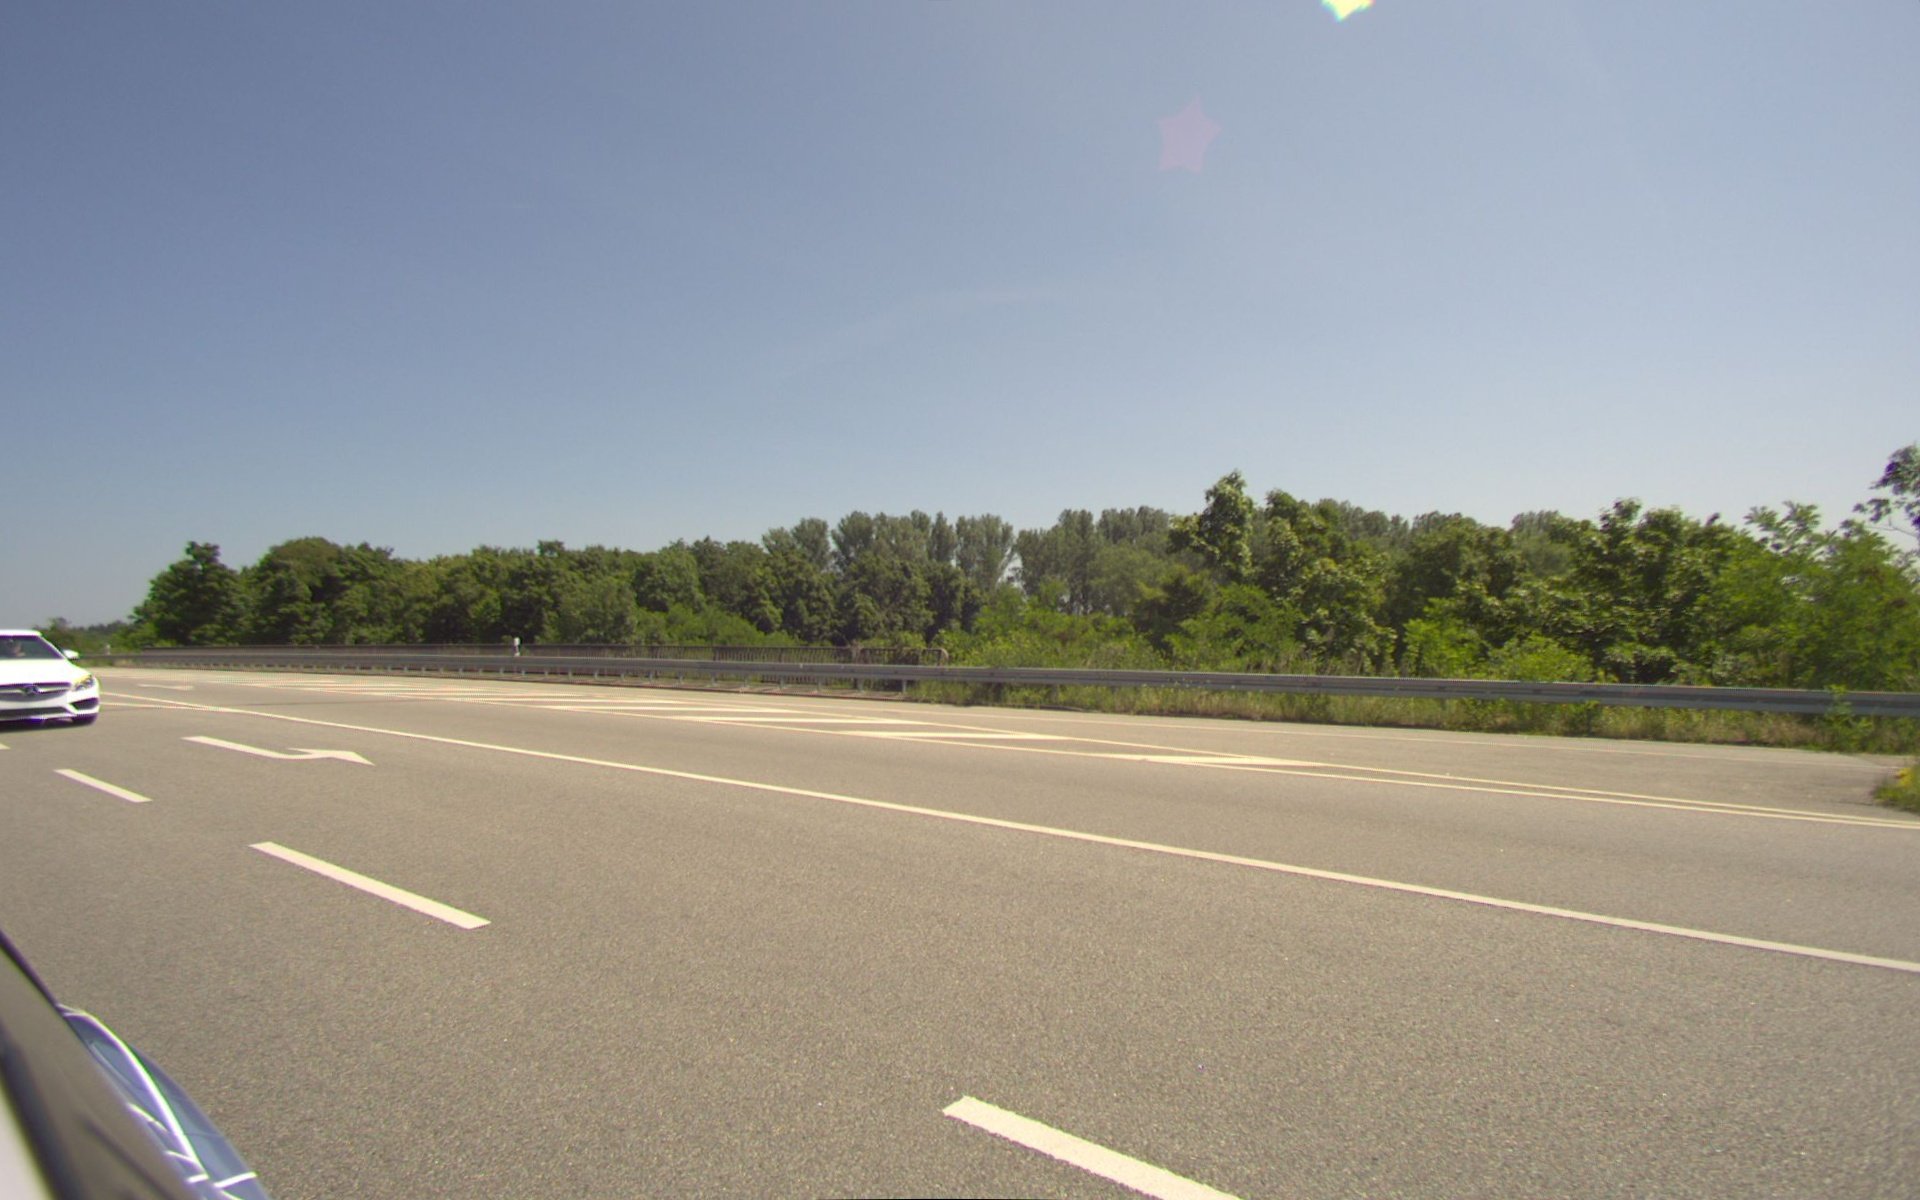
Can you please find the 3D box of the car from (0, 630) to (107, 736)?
[{"bbox_3d":[-14.697,1.221,15.267,4.100,1.426,1.793,-2,-2,35],"label":"car"}]

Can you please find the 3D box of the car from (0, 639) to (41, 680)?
[{"bbox_3d":[-34.477,2.132,36.140,4.374,1.412,1.718,-3,-4,38],"label":"car"}]
